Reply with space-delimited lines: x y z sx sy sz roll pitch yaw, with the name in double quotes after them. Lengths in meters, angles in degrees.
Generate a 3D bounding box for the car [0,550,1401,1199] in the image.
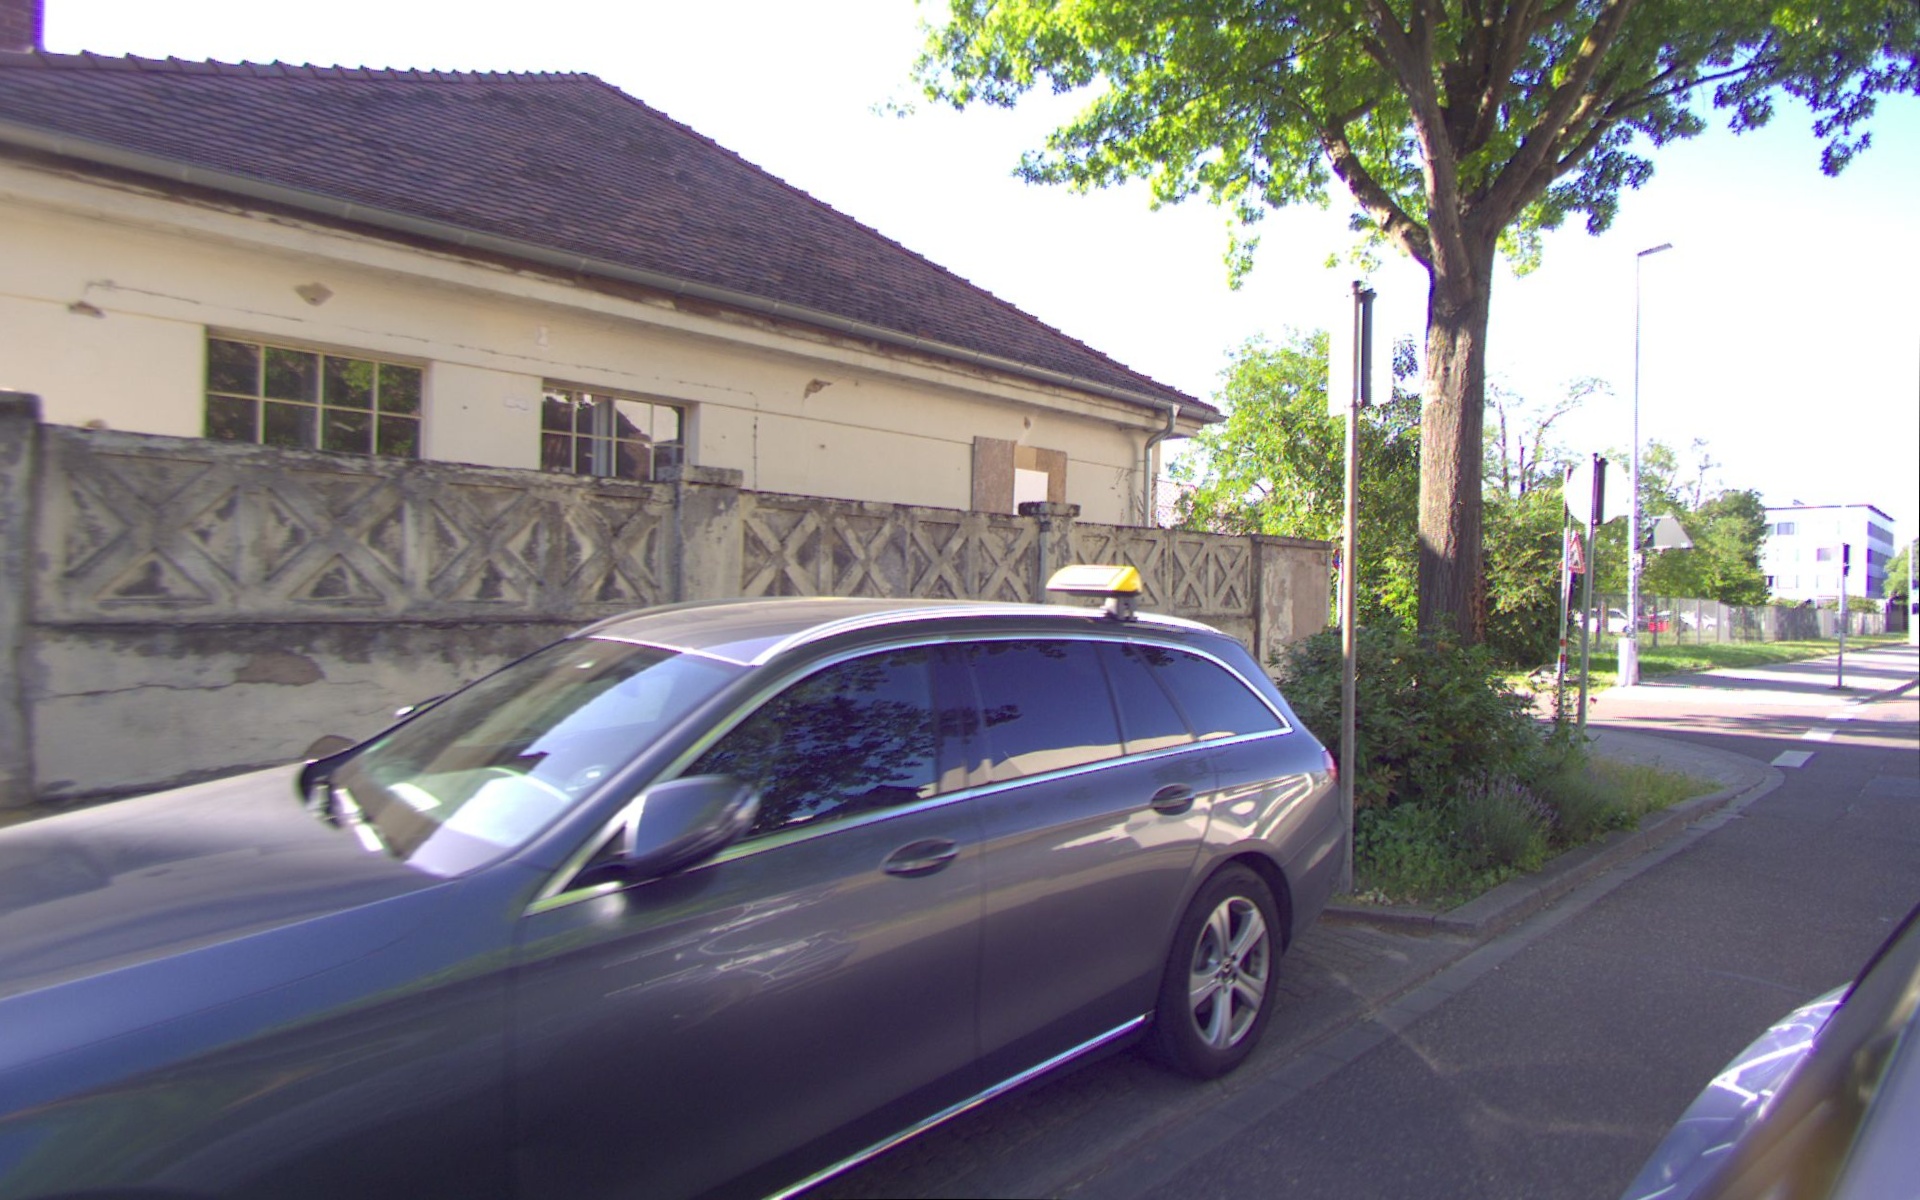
-0.589 0.686 2.980 4.707 1.487 1.705 1 0 -42 "car"
